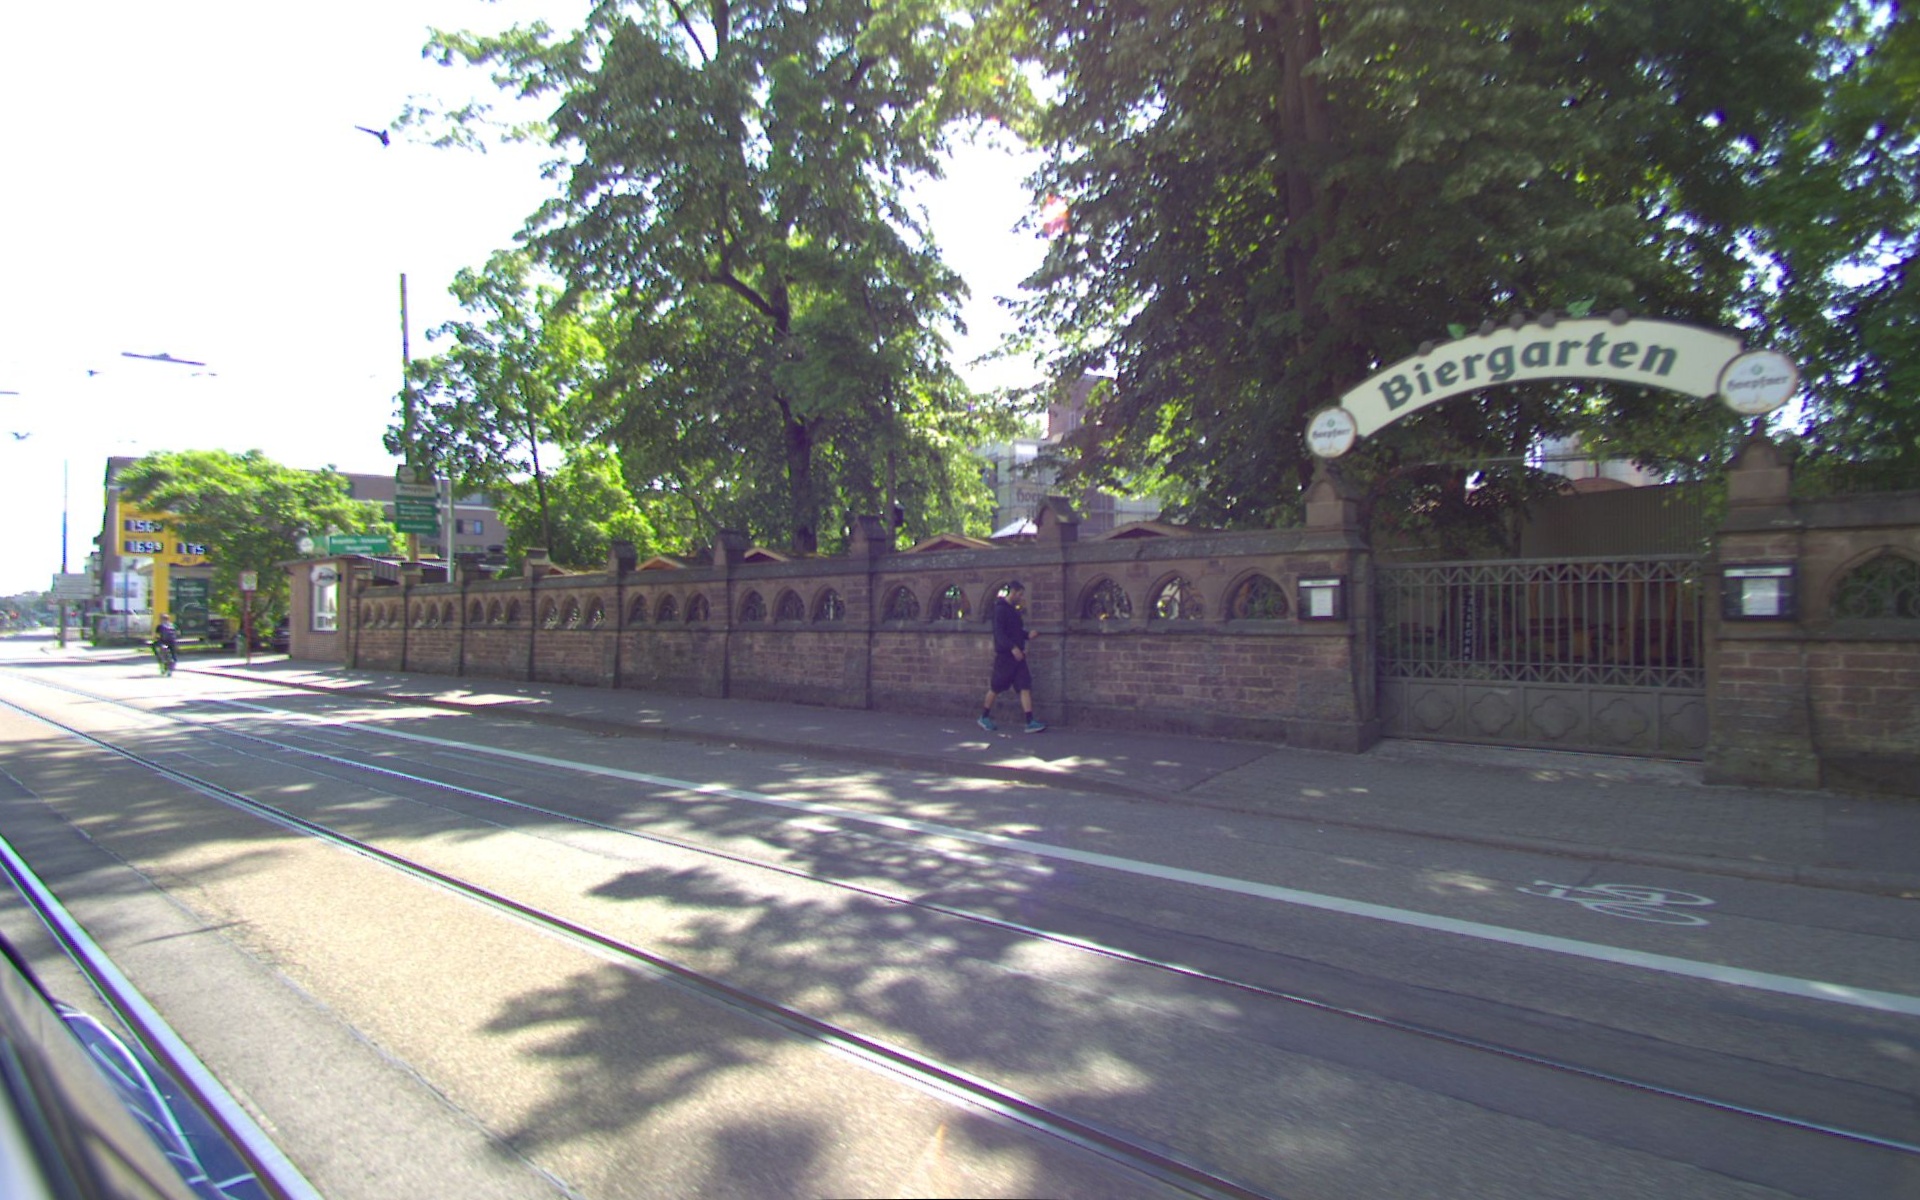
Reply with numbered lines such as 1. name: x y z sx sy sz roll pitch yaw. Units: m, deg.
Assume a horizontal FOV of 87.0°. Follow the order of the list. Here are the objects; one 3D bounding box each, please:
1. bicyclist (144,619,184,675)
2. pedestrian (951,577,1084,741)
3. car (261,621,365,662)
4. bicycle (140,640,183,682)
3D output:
1. bicyclist: -22.426 1.307 28.505 0.947 1.542 0.732 -1 -2 41
2. pedestrian: 0.694 0.675 12.222 1.184 1.829 0.966 -2 2 41
3. car: -28.521 1.783 44.830 1.989 1.653 4.665 -1 -1 -6
4. bicycle: -22.555 1.705 28.578 2.053 1.114 0.585 -2 -2 42
